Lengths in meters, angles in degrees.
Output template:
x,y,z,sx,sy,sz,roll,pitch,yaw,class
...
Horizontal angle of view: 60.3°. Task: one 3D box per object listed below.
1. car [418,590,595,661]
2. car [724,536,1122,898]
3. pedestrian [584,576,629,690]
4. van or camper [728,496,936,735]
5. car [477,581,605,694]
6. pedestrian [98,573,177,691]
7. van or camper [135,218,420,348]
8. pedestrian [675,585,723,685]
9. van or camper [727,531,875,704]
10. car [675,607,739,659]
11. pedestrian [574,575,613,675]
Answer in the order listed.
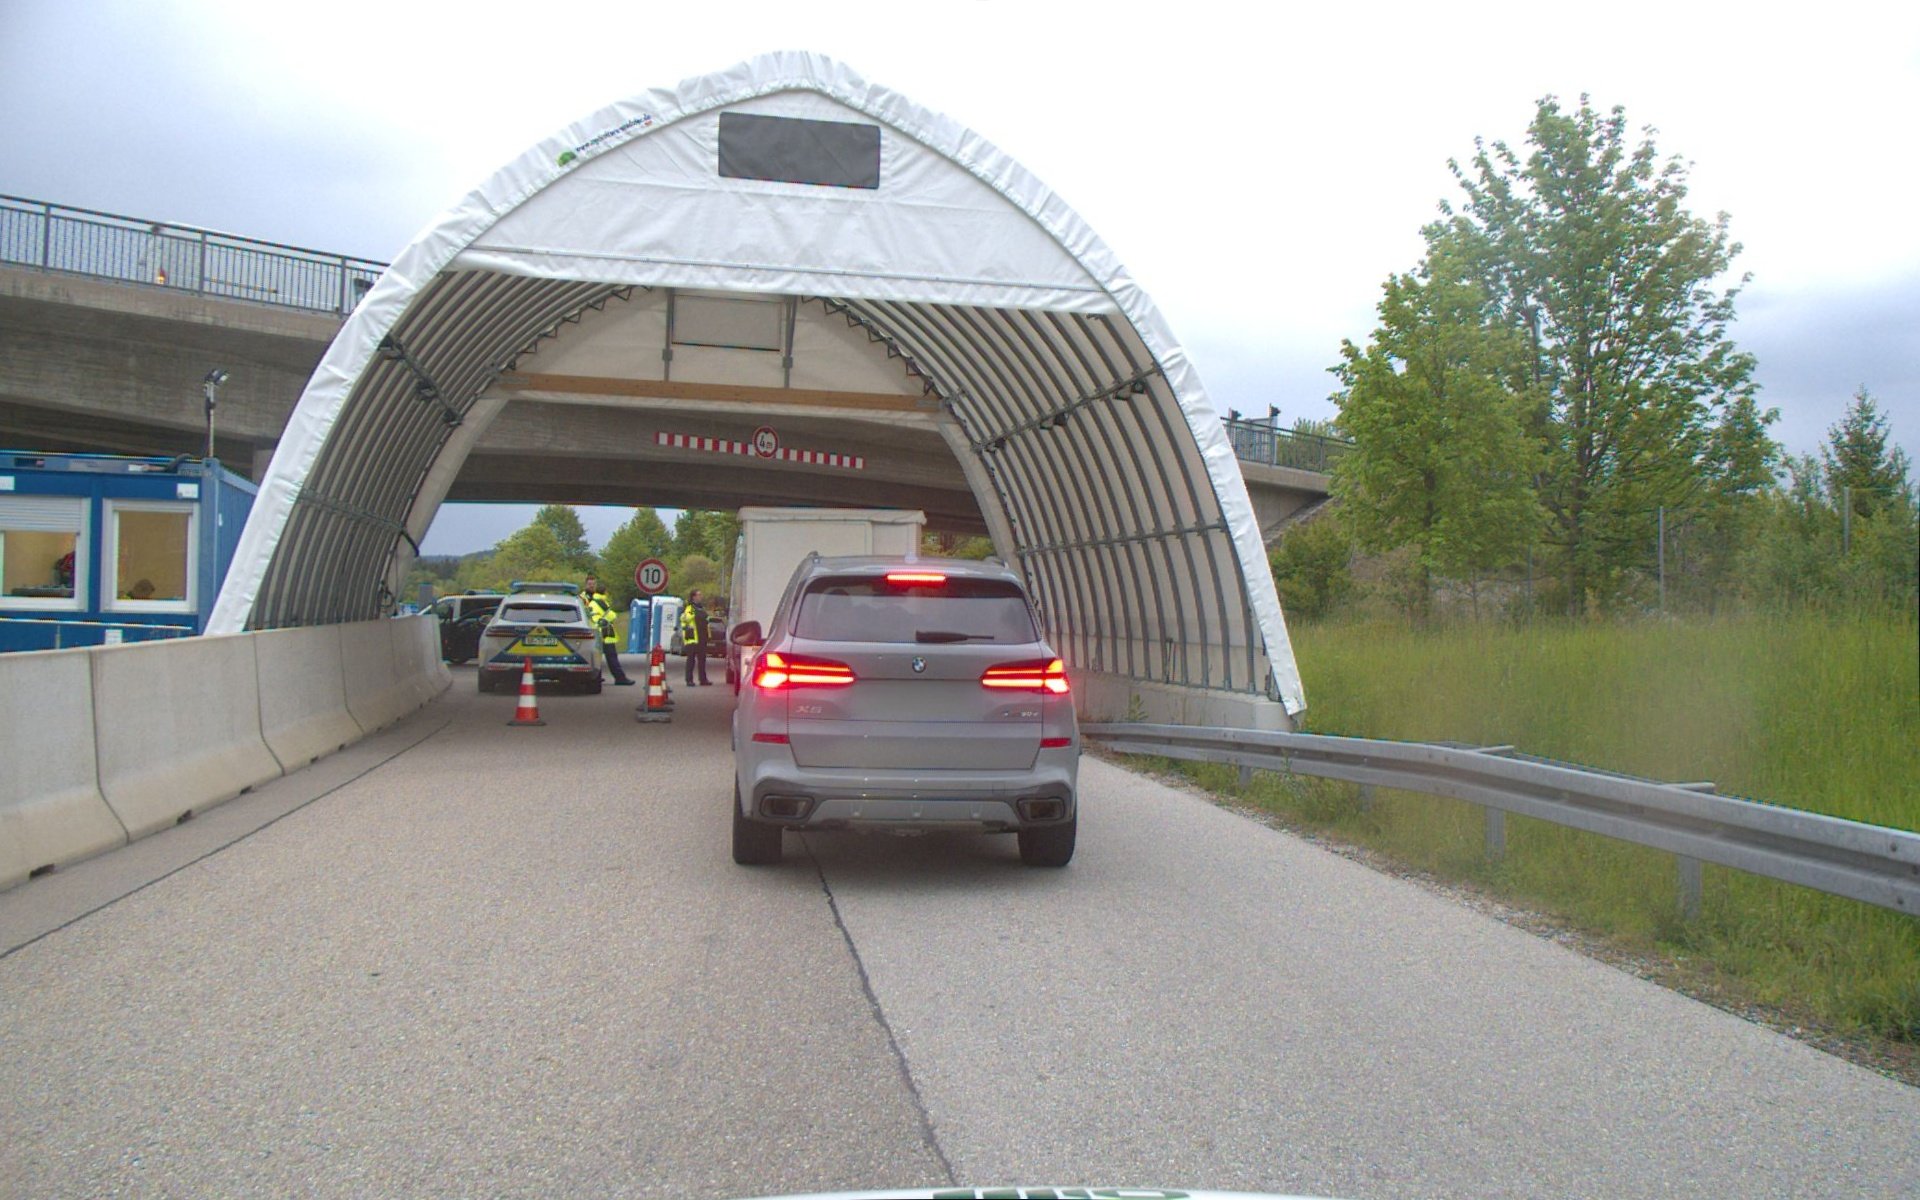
x,y,z,sx,sy,sz,roll,pitch,yaw,class
-13.393,0.734,48.965,4.703,2.049,1.842,0,-1,7,car
-0.449,0.591,10.345,1.957,1.796,3.991,0,0,-9,car
-6.167,0.572,28.850,0.736,1.952,0.760,0,-1,-15,pedestrian
-1.846,0.190,21.392,2.189,2.597,6.597,0,0,-9,van or camper
-6.750,0.572,26.655,1.846,1.675,3.984,0,0,-15,car
-9.840,0.380,19.805,0.597,1.397,0.628,0,-1,8,pedestrian
-14.686,-6.760,35.785,5.400,1.801,1.869,1,-1,-40,van or camper
-4.613,0.610,29.213,0.742,1.752,0.778,0,-1,-18,pedestrian
-2.756,0.283,27.452,2.065,2.563,5.538,0,0,-10,van or camper
-8.935,1.136,58.263,1.959,1.752,3.883,0,0,-13,car
-6.631,0.442,29.948,0.597,1.784,0.665,0,-1,-6,pedestrian
